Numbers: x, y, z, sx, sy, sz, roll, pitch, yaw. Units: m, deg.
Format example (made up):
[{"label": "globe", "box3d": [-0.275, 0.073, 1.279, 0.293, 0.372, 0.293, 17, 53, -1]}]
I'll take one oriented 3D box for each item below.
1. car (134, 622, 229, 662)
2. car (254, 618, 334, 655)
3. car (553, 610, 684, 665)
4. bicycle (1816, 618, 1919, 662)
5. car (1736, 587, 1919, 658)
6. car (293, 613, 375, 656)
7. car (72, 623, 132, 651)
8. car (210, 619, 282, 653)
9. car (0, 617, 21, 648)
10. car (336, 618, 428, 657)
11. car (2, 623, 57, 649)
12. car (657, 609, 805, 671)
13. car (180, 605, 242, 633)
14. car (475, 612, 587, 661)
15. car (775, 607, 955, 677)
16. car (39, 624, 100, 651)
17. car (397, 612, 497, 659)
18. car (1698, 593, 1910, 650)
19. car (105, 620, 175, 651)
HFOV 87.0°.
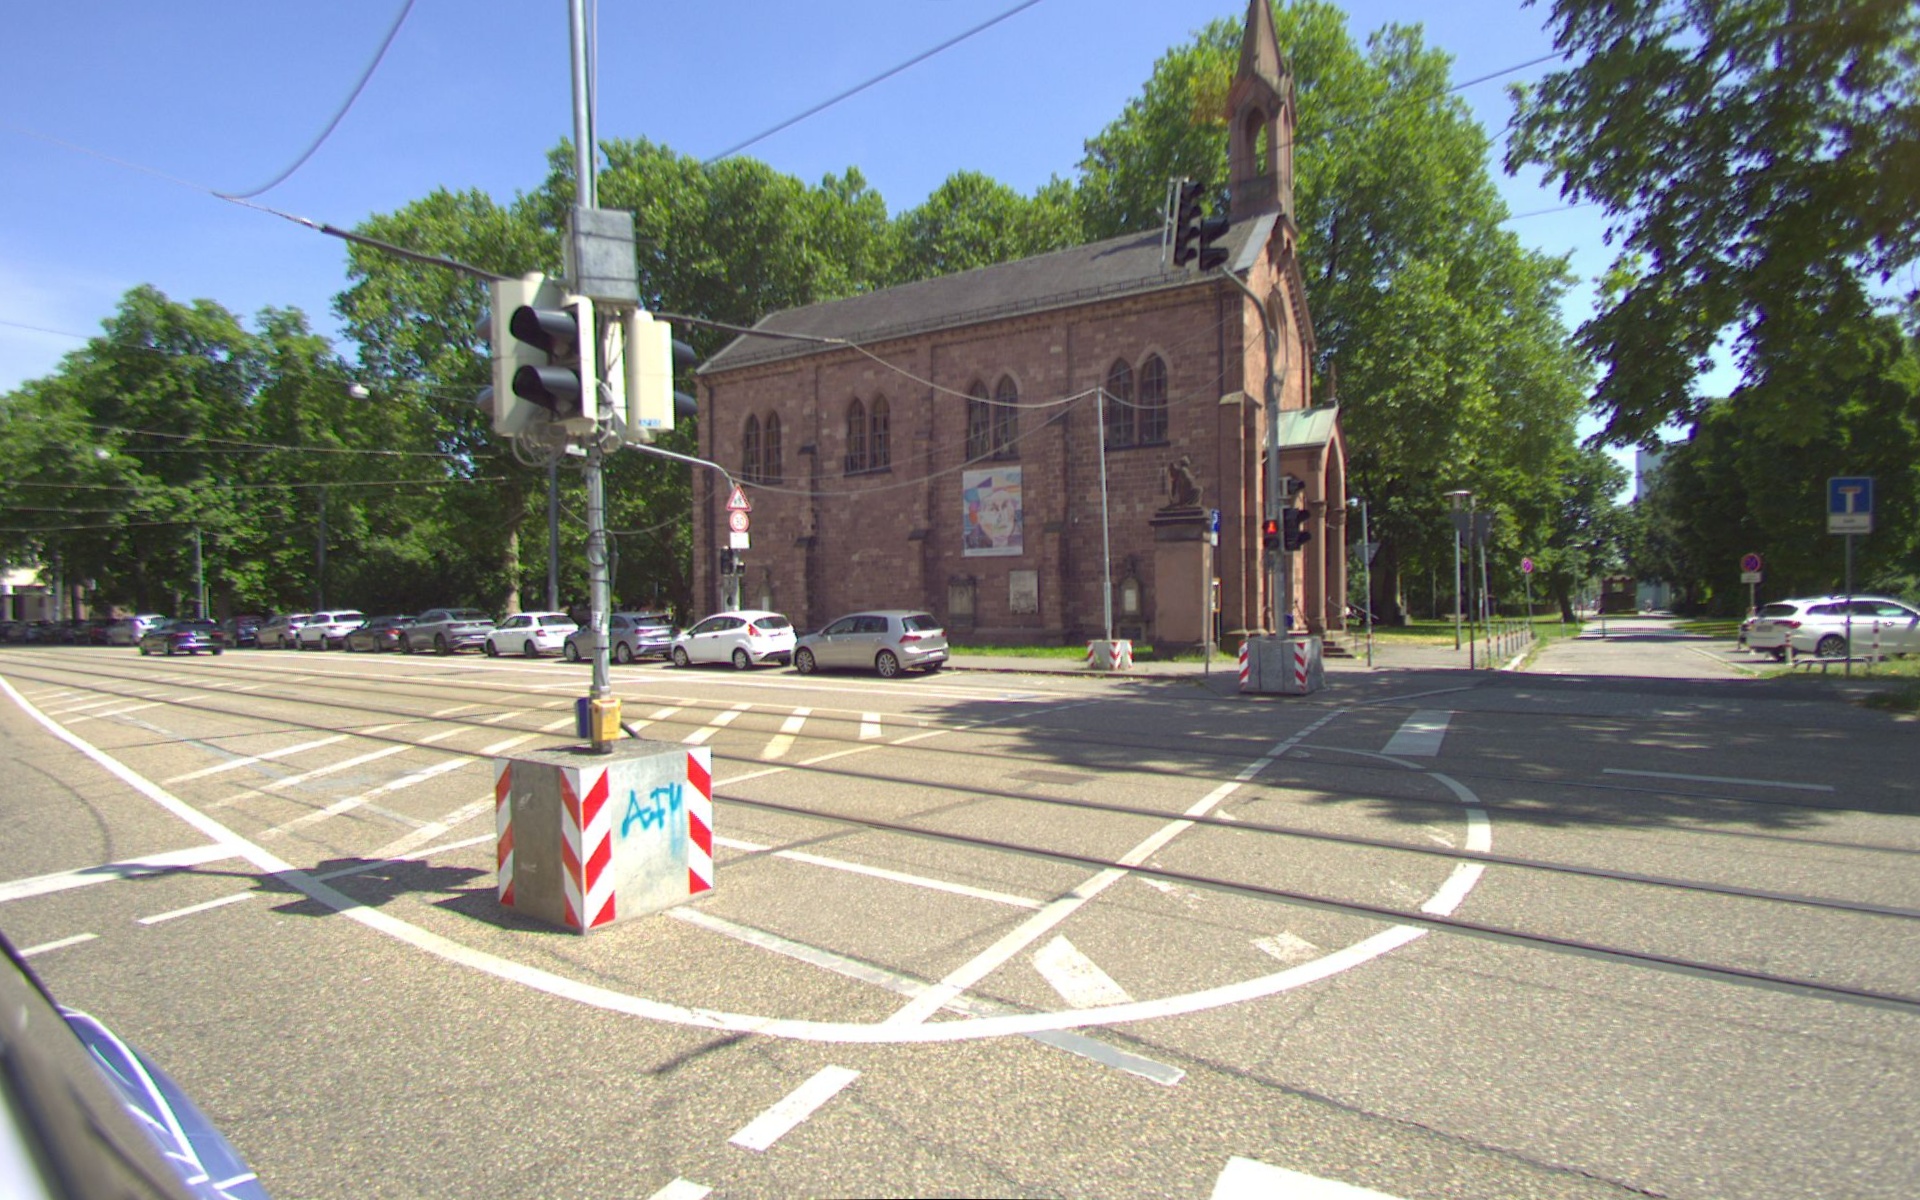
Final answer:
[{"label": "car", "box3d": [-30.073, 1.583, 39.059, 4.337, 1.405, 1.731, -1, 1, 36]}, {"label": "car", "box3d": [-30.117, 1.617, 45.742, 4.181, 1.509, 1.727, -1, 1, 37]}, {"label": "car", "box3d": [-10.104, 1.064, 29.820, 4.052, 1.470, 1.643, -1, 1, 37]}, {"label": "bicycle", "box3d": [19.859, 0.863, 21.906, 1.892, 0.907, 0.640, -1, 1, 18]}, {"label": "car", "box3d": [21.470, 0.503, 24.042, 4.476, 1.520, 1.913, -1, 1, 4]}, {"label": "car", "box3d": [-26.480, 1.408, 42.777, 3.901, 1.665, 1.726, -1, 1, 39]}, {"label": "car", "box3d": [-49.742, 2.140, 58.623, 3.993, 1.475, 1.788, -1, 1, 37]}, {"label": "car", "box3d": [-35.076, 1.722, 49.683, 4.181, 1.509, 1.727, -1, 1, 37]}, {"label": "car", "box3d": [-65.576, 2.182, 68.568, 3.990, 2.029, 1.977, -1, 1, 34]}, {"label": "car", "box3d": [-22.592, 1.441, 39.517, 3.993, 1.386, 1.652, -1, 1, 37]}, {"label": "car", "box3d": [-59.650, 2.285, 64.874, 3.807, 1.526, 1.728, -1, 1, 34]}, {"label": "car", "box3d": [-6.095, 1.020, 26.766, 4.053, 1.470, 1.642, -1, 1, 39]}, {"label": "car", "box3d": [-39.489, 0.980, 53.333, 3.759, 1.390, 1.630, -1, 1, 37]}, {"label": "car", "box3d": [-14.164, 1.177, 33.354, 3.747, 1.470, 1.727, -1, 1, 37]}, {"label": "car", "box3d": [-2.289, 0.931, 23.758, 4.215, 1.470, 1.642, -1, 1, 39]}, {"label": "car", "box3d": [-54.369, 2.269, 61.779, 3.988, 1.475, 1.790, -1, 1, 33]}, {"label": "car", "box3d": [-18.413, 1.227, 36.304, 3.747, 1.535, 1.727, -1, 1, 37]}, {"label": "car", "box3d": [24.766, 0.617, 29.830, 4.476, 1.520, 1.913, -1, 1, 4]}, {"label": "car", "box3d": [-45.398, 1.918, 56.017, 3.991, 1.574, 1.955, -1, 1, 35]}]
